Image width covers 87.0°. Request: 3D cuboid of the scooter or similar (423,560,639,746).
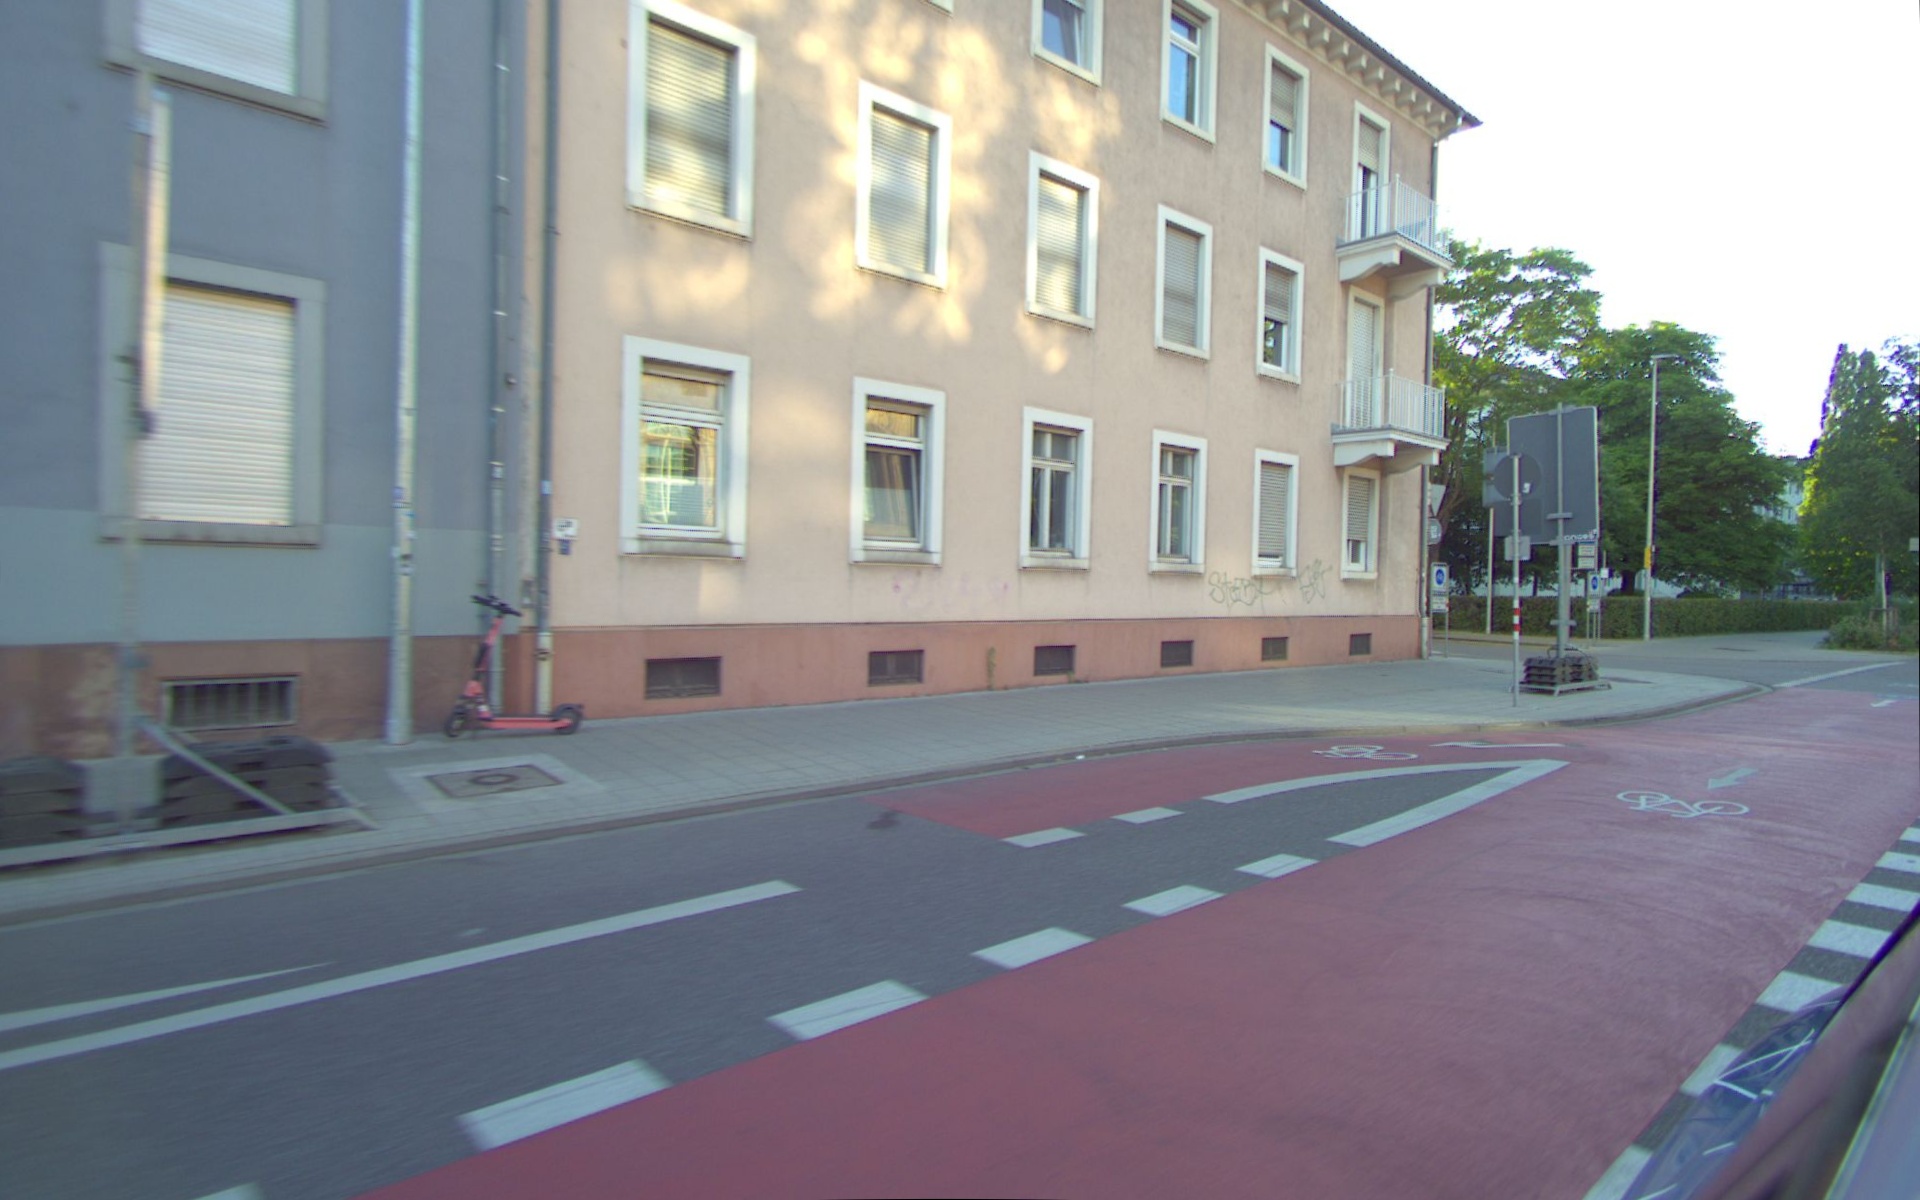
[{"bbox_3d":[-3.754,0.421,8.878,1.639,1.476,0.729,1,3,-32],"label":"scooter or similar"}]
